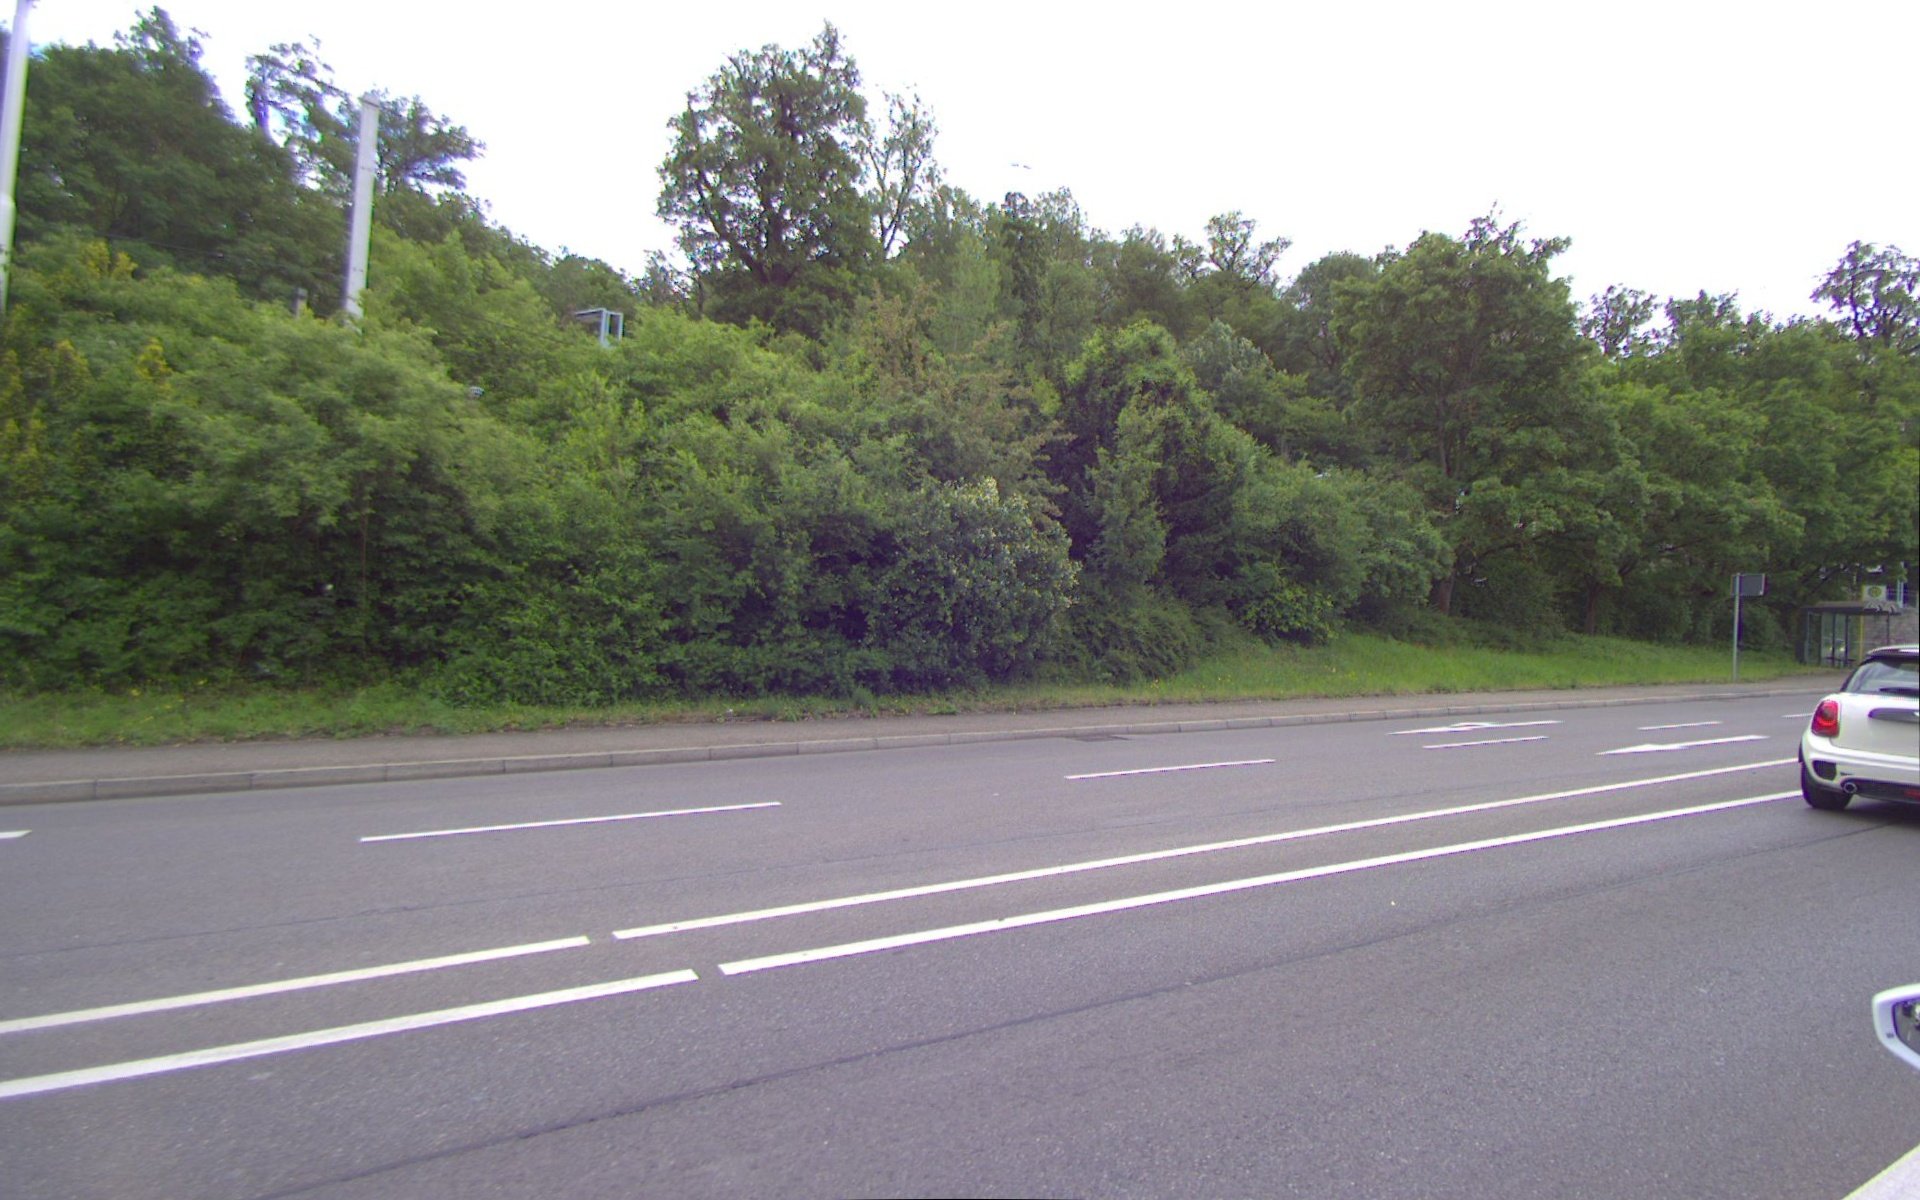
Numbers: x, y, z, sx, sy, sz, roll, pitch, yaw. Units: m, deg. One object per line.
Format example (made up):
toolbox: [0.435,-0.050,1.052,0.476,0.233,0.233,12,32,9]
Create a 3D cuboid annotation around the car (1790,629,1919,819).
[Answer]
car: [8.714,0.984,8.408,3.524,1.412,1.620,2,-1,-30]
